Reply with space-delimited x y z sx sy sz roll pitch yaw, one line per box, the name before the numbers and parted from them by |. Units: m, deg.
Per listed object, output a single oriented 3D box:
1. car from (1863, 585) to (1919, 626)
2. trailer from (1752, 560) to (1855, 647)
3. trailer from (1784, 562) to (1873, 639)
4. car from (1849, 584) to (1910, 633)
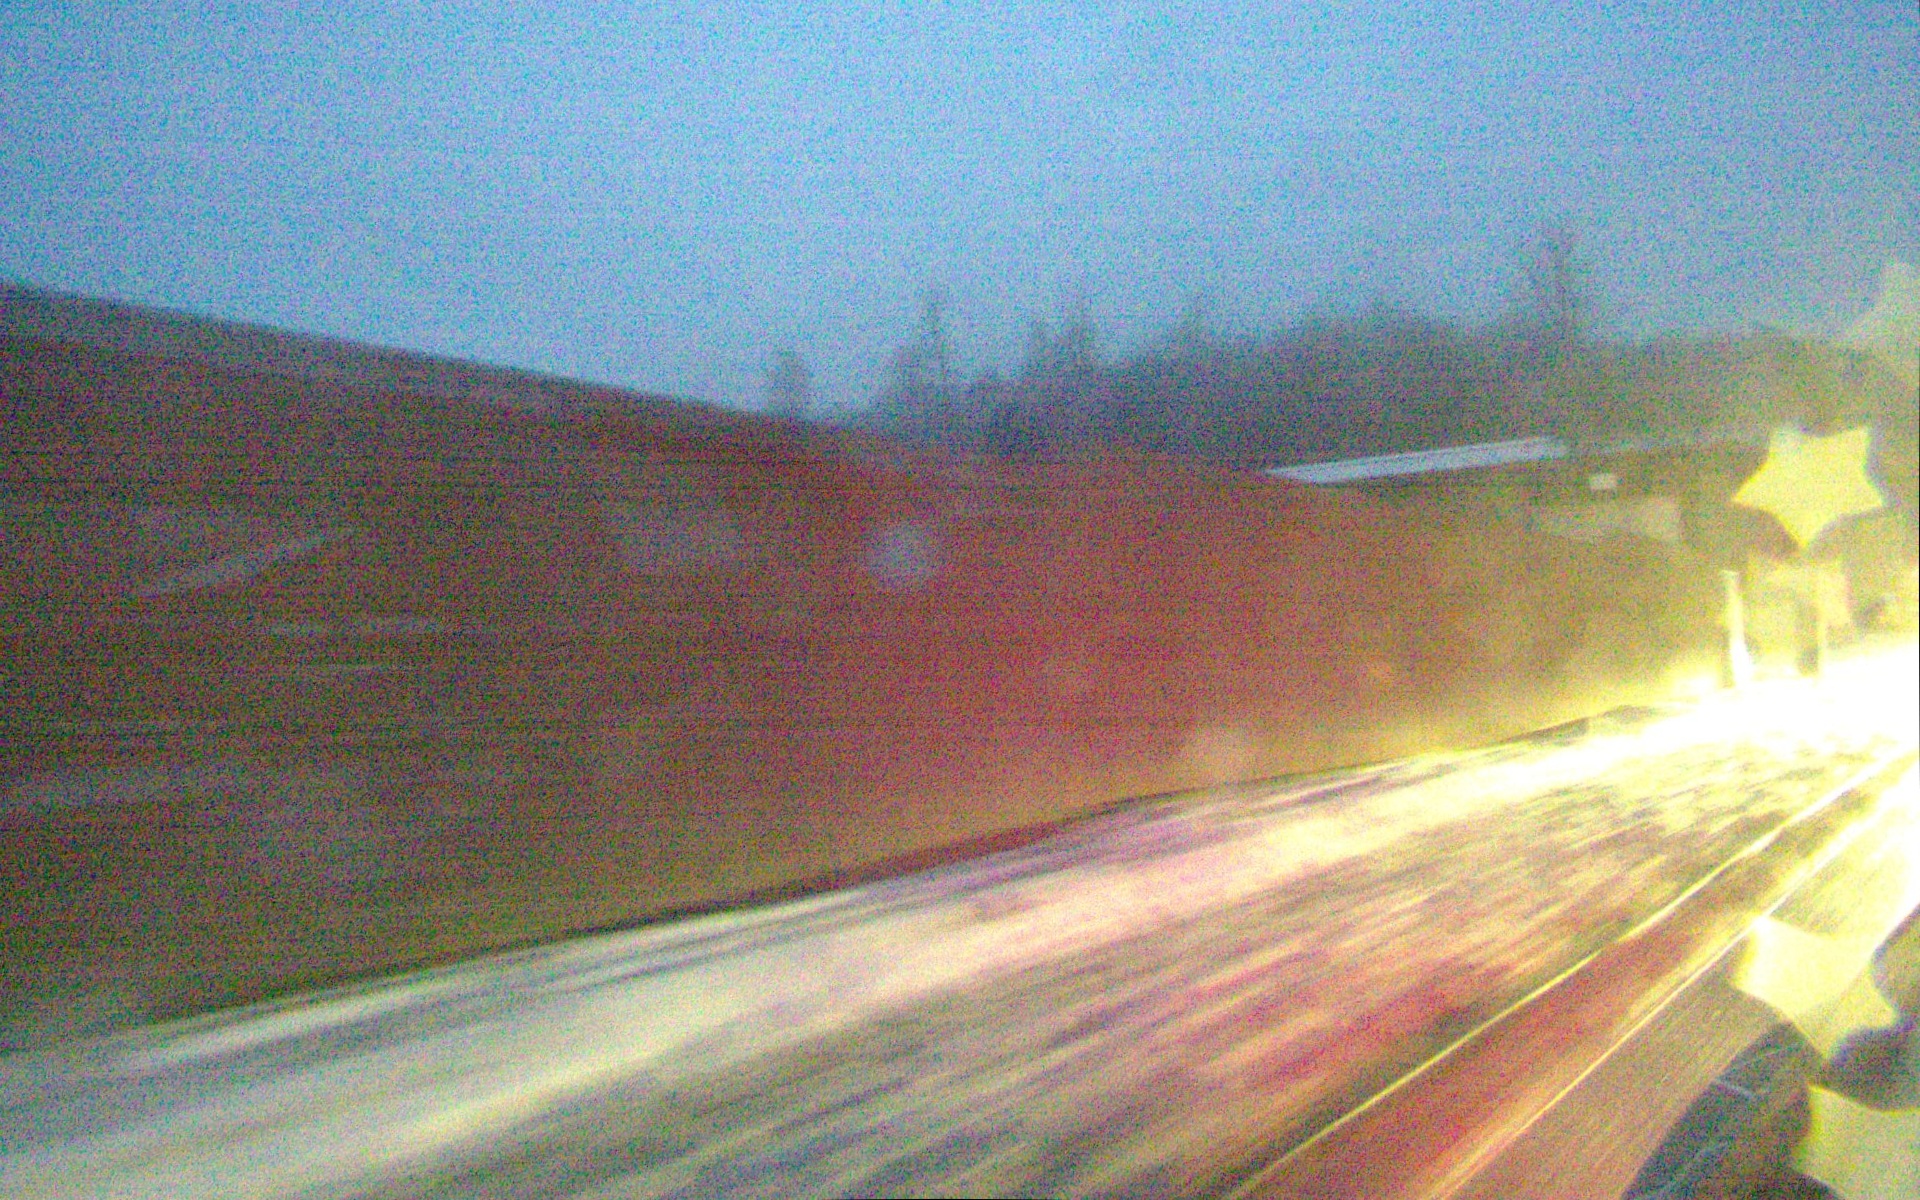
car | 44.832 0.240 48.581 4.088 1.833 1.879 -1 -1 -44
trailer | 25.482 0.081 30.529 4.574 2.395 1.631 -1 -3 -42
trailer | 29.225 0.000 34.022 4.356 2.383 1.607 -1 -3 -42
car | 41.365 0.368 45.501 1.877 2.066 4.323 -3 -1 43
